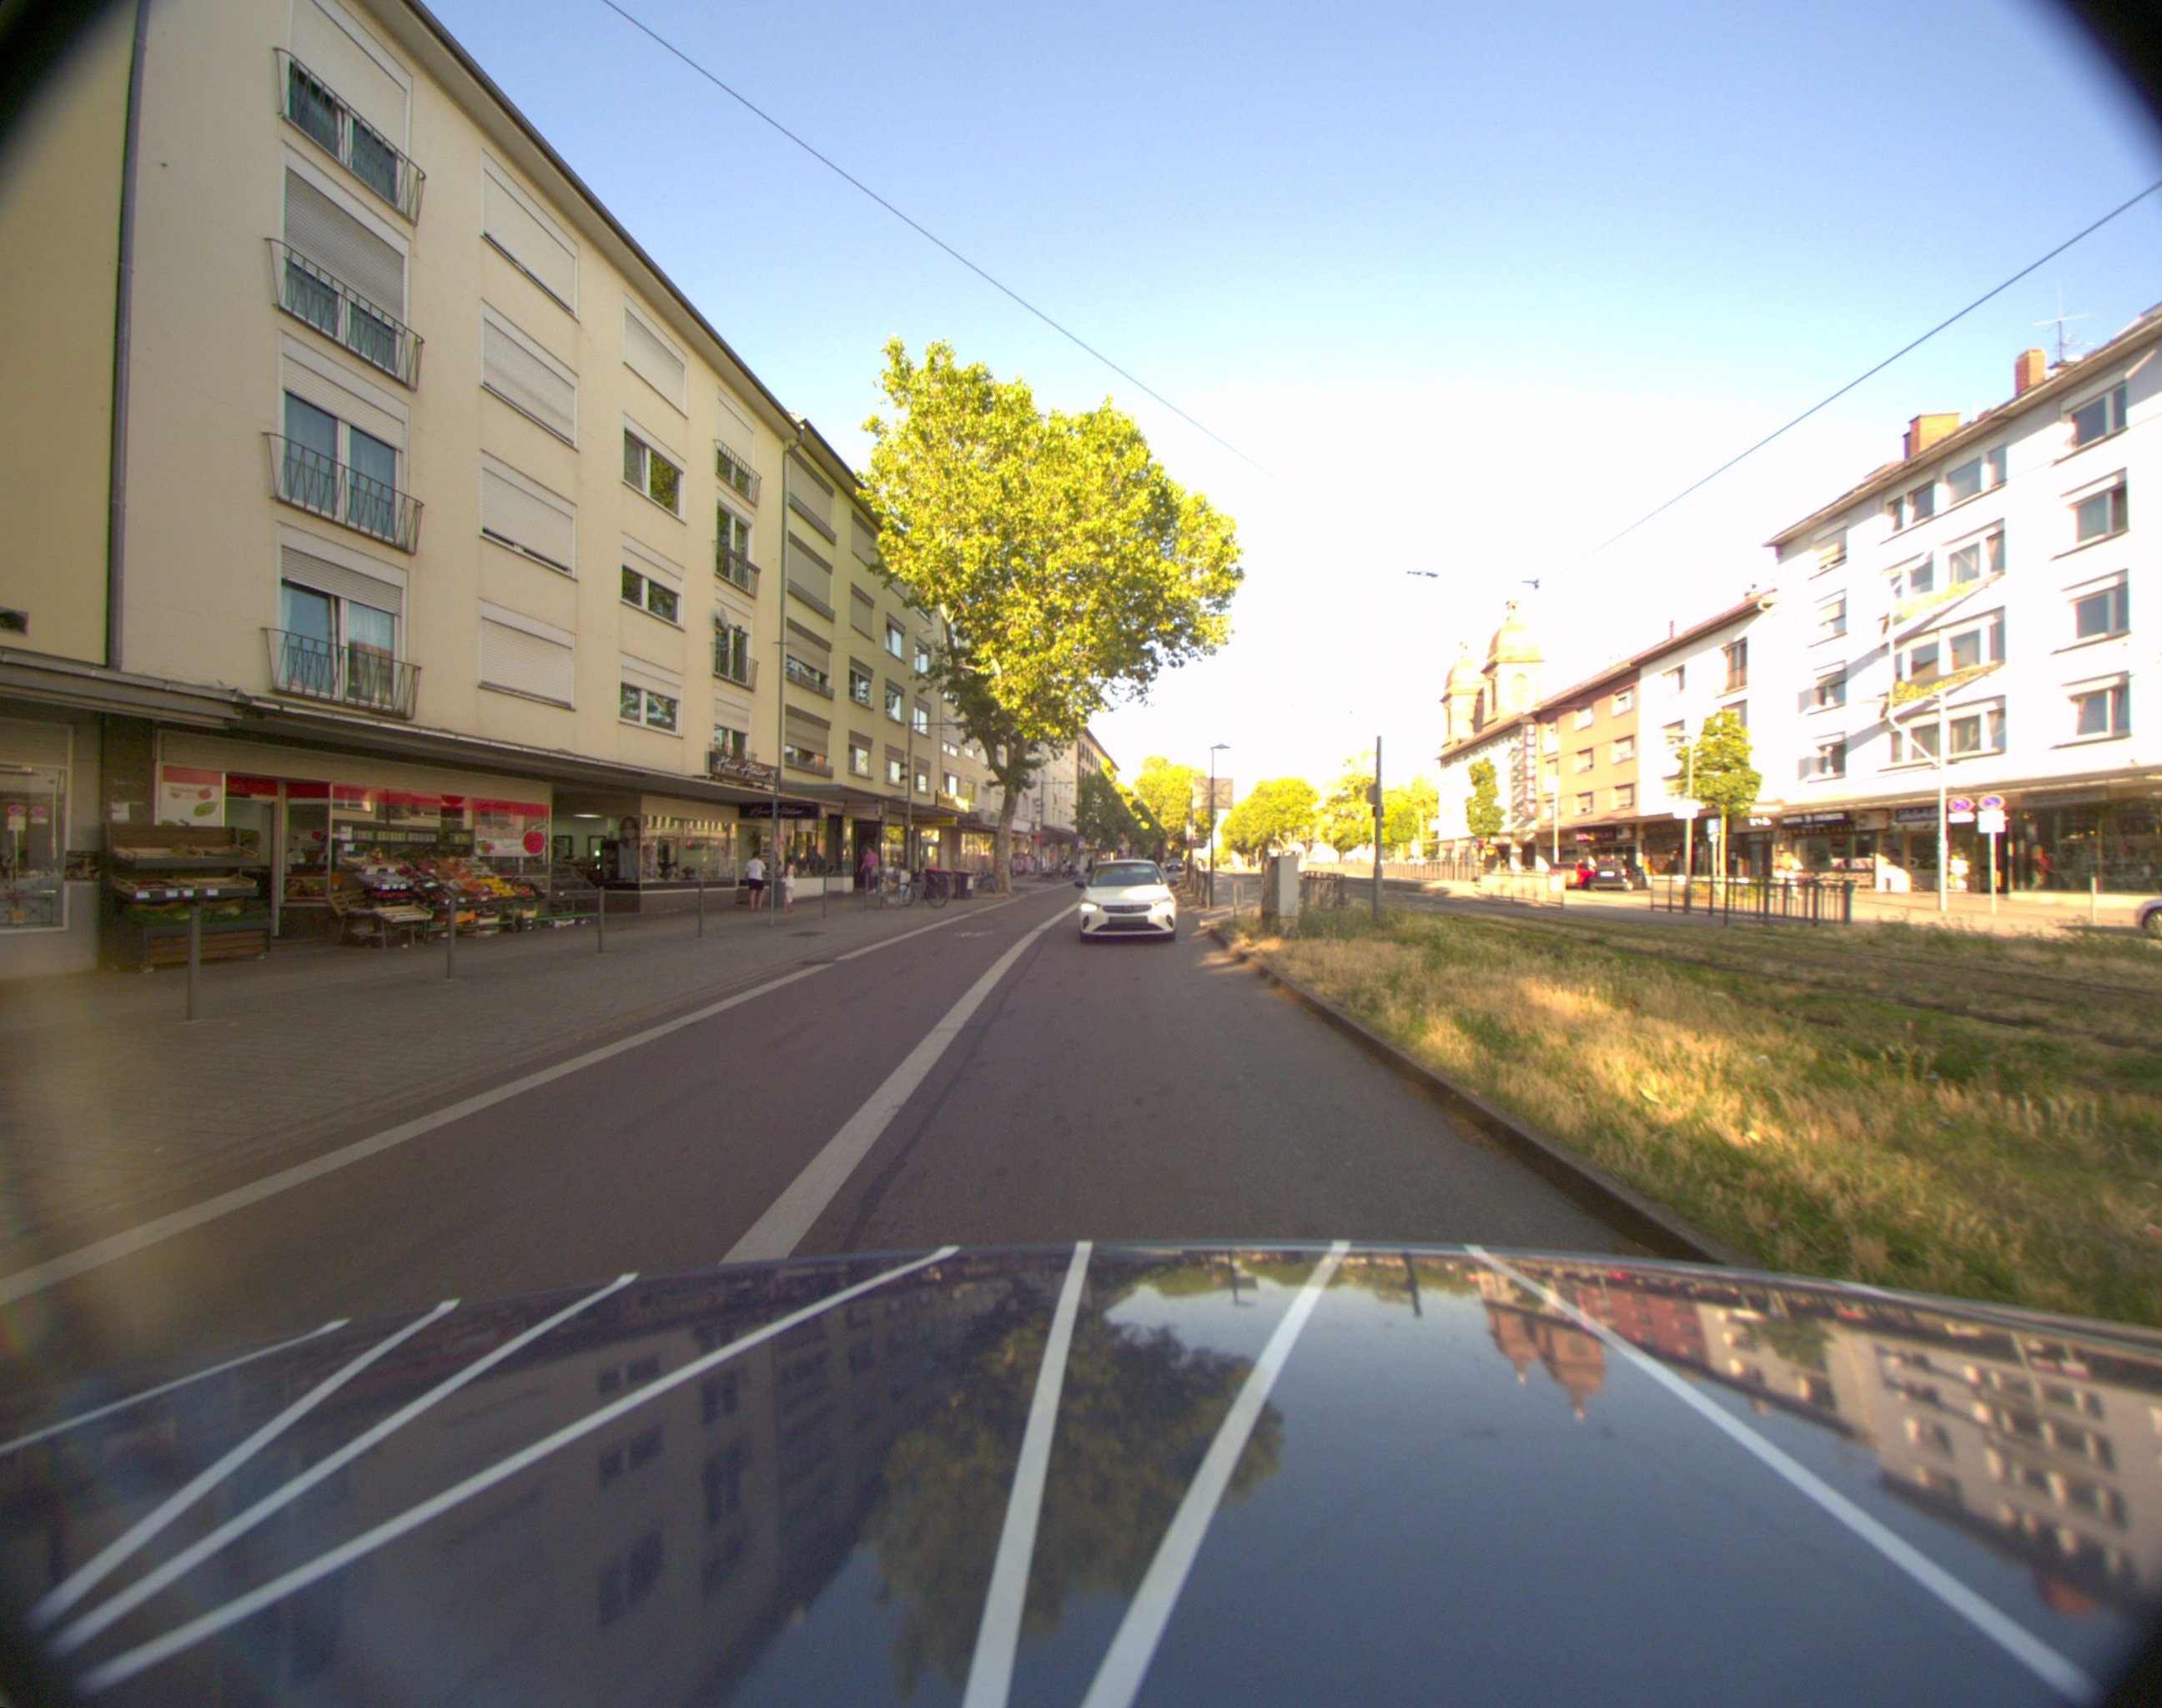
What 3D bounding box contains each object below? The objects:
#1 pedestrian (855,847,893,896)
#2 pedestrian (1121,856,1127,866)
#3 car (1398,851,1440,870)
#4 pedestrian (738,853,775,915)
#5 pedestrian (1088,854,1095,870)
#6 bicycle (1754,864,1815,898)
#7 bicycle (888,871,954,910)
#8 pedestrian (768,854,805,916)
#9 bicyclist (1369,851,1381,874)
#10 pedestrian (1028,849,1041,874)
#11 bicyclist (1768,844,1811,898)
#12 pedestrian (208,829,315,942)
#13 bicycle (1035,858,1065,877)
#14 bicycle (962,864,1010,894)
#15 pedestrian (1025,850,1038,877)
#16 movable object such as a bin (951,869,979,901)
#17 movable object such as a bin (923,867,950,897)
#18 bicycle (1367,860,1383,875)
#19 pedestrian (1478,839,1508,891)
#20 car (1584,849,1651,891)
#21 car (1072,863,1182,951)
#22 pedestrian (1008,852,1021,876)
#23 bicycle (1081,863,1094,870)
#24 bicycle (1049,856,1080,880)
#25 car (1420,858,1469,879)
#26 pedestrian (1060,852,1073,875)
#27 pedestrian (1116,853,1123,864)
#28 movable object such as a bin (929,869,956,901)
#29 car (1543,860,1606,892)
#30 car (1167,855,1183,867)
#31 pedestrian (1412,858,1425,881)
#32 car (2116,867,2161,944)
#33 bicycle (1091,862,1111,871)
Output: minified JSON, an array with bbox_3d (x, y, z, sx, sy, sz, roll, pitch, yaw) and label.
[{"bbox_3d":[-7.750,0.633,28.457,0.969,1.753,1.134,1,1,9],"label":"pedestrian"},{"bbox_3d":[6.819,1.136,121.524,0.851,1.645,0.916,-2,0,8],"label":"pedestrian"},{"bbox_3d":[29.841,0.578,66.993,4.007,1.477,1.739,-2,0,-39],"label":"car"},{"bbox_3d":[-8.486,0.778,19.895,0.623,1.577,0.627,2,1,7],"label":"pedestrian"},{"bbox_3d":[1.068,0.832,76.618,0.490,1.558,0.649,2,1,10],"label":"pedestrian"},{"bbox_3d":[25.263,0.950,27.320,0.706,1.152,2.201,1,0,17],"label":"bicycle"},{"bbox_3d":[-4.974,1.128,23.626,1.909,1.098,0.519,2,1,14],"label":"bicycle"},{"bbox_3d":[-7.734,0.797,19.943,0.636,1.577,0.627,2,1,7],"label":"pedestrian"},{"bbox_3d":[25.972,0.787,67.182,0.765,2.002,0.912,1,0,7],"label":"bicyclist"},{"bbox_3d":[-3.183,0.496,51.981,0.569,1.665,1.070,2,1,9],"label":"pedestrian"},{"bbox_3d":[25.167,0.590,27.000,0.693,1.876,1.059,1,1,17],"label":"bicyclist"},{"bbox_3d":[-13.130,0.483,12.200,0.685,1.733,0.880,-2,1,5],"label":"pedestrian"},{"bbox_3d":[-2.032,0.876,49.794,1.795,1.118,0.663,5,1,-19],"label":"bicycle"},{"bbox_3d":[-3.719,0.968,29.797,1.721,1.111,0.745,0,4,8],"label":"bicycle"},{"bbox_3d":[-3.066,0.592,47.072,0.547,1.619,0.896,2,0,9],"label":"pedestrian"},{"bbox_3d":[-4.212,1.111,27.552,0.723,1.096,0.645,4,2,15],"label":"movable object such as a bin"},{"bbox_3d":[-5.373,1.041,28.337,0.722,1.066,0.645,2,1,27],"label":"movable object such as a bin"},{"bbox_3d":[25.957,1.185,67.117,0.719,1.223,2.280,1,0,7],"label":"bicycle"},{"bbox_3d":[14.879,0.398,27.458,0.743,1.838,0.590,0,0,3],"label":"pedestrian"},{"bbox_3d":[25.692,0.735,36.358,3.777,1.789,1.859,-3,0,-43],"label":"car"},{"bbox_3d":[0.860,0.911,14.639,1.826,1.433,3.829,-1,0,3],"label":"car"},{"bbox_3d":[-4.165,0.618,47.803,0.541,1.493,0.896,2,0,9],"label":"pedestrian"},{"bbox_3d":[0.594,1.143,70.116,0.840,0.569,1.759,1,-1,-14],"label":"bicycle"},{"bbox_3d":[-1.050,0.888,48.547,1.788,1.304,0.695,6,1,20],"label":"bicycle"},{"bbox_3d":[28.660,1.109,59.871,4.007,1.521,1.865,-2,0,-37],"label":"car"},{"bbox_3d":[-1.206,0.773,61.716,0.774,1.789,0.931,3,0,10],"label":"pedestrian"},{"bbox_3d":[5.821,0.685,115.129,0.851,1.645,0.916,-2,0,8],"label":"pedestrian"},{"bbox_3d":[-5.025,1.124,27.577,0.723,1.066,0.644,4,1,6],"label":"movable object such as a bin"},{"bbox_3d":[25.593,1.119,39.351,3.777,1.482,1.859,-3,0,-43],"label":"car"},{"bbox_3d":[11.450,0.797,93.008,1.717,1.390,4.001,-2,0,4],"label":"car"},{"bbox_3d":[26.717,1.201,60.080,0.767,1.777,0.726,-2,1,12],"label":"pedestrian"},{"bbox_3d":[21.864,0.998,13.178,1.998,1.469,4.412,-2,0,5],"label":"car"},{"bbox_3d":[1.847,1.145,69.907,1.762,0.773,0.702,1,0,-14],"label":"bicycle"}]
